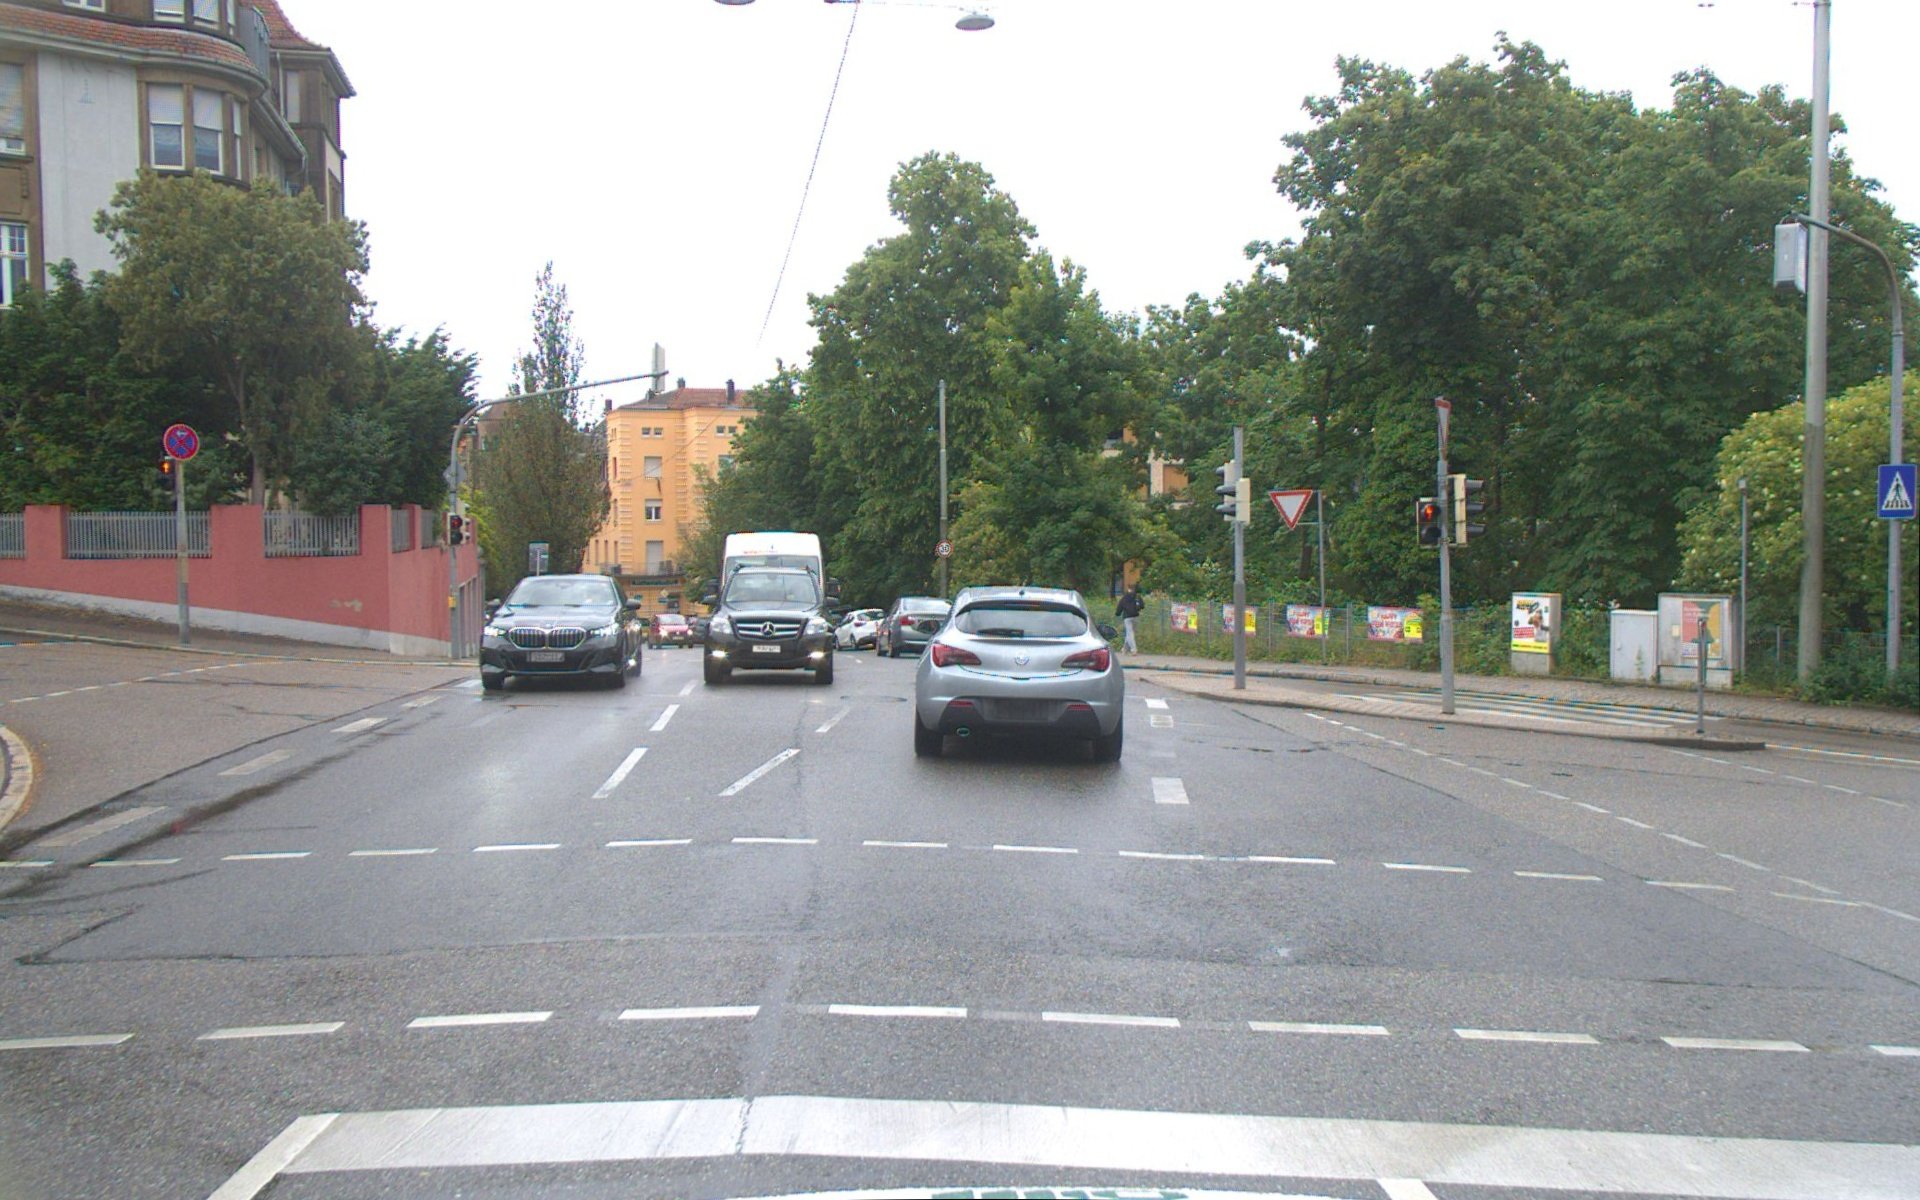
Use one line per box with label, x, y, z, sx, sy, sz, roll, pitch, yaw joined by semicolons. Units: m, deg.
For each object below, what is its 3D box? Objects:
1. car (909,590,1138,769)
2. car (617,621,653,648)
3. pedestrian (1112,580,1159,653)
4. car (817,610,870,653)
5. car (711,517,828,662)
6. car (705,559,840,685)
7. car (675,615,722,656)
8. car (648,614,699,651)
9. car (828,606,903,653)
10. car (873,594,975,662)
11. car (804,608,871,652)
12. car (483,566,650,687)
car;0.457;0.644;15.467;1.779;1.455;3.997;0;0;-3
car;-19.478;2.032;99.055;1.615;1.563;3.697;0;-1;-18
pedestrian;4.074;0.384;38.517;0.752;1.633;0.962;-3;-1;-13
car;-4.141;1.094;58.478;1.359;1.436;3.444;0;-1;-13
car;-3.718;-0.152;32.500;2.077;2.590;5.532;-1;-1;-6
car;-2.725;0.289;24.425;1.786;1.681;4.341;1;0;-6
car;-12.993;1.748;82.034;1.617;1.718;3.694;0;3;-21
car;-12.833;1.445;73.955;1.815;1.612;4.260;1;-1;-16
car;-3.682;1.158;63.922;1.788;1.520;3.978;-6;0;-19
car;-0.889;0.687;38.376;1.744;1.455;3.775;-1;-2;-11
car;-5.190;1.248;69.393;1.792;1.712;4.782;-3;0;-16
car;-5.483;0.296;23.635;1.818;1.512;5.357;-1;1;-8
